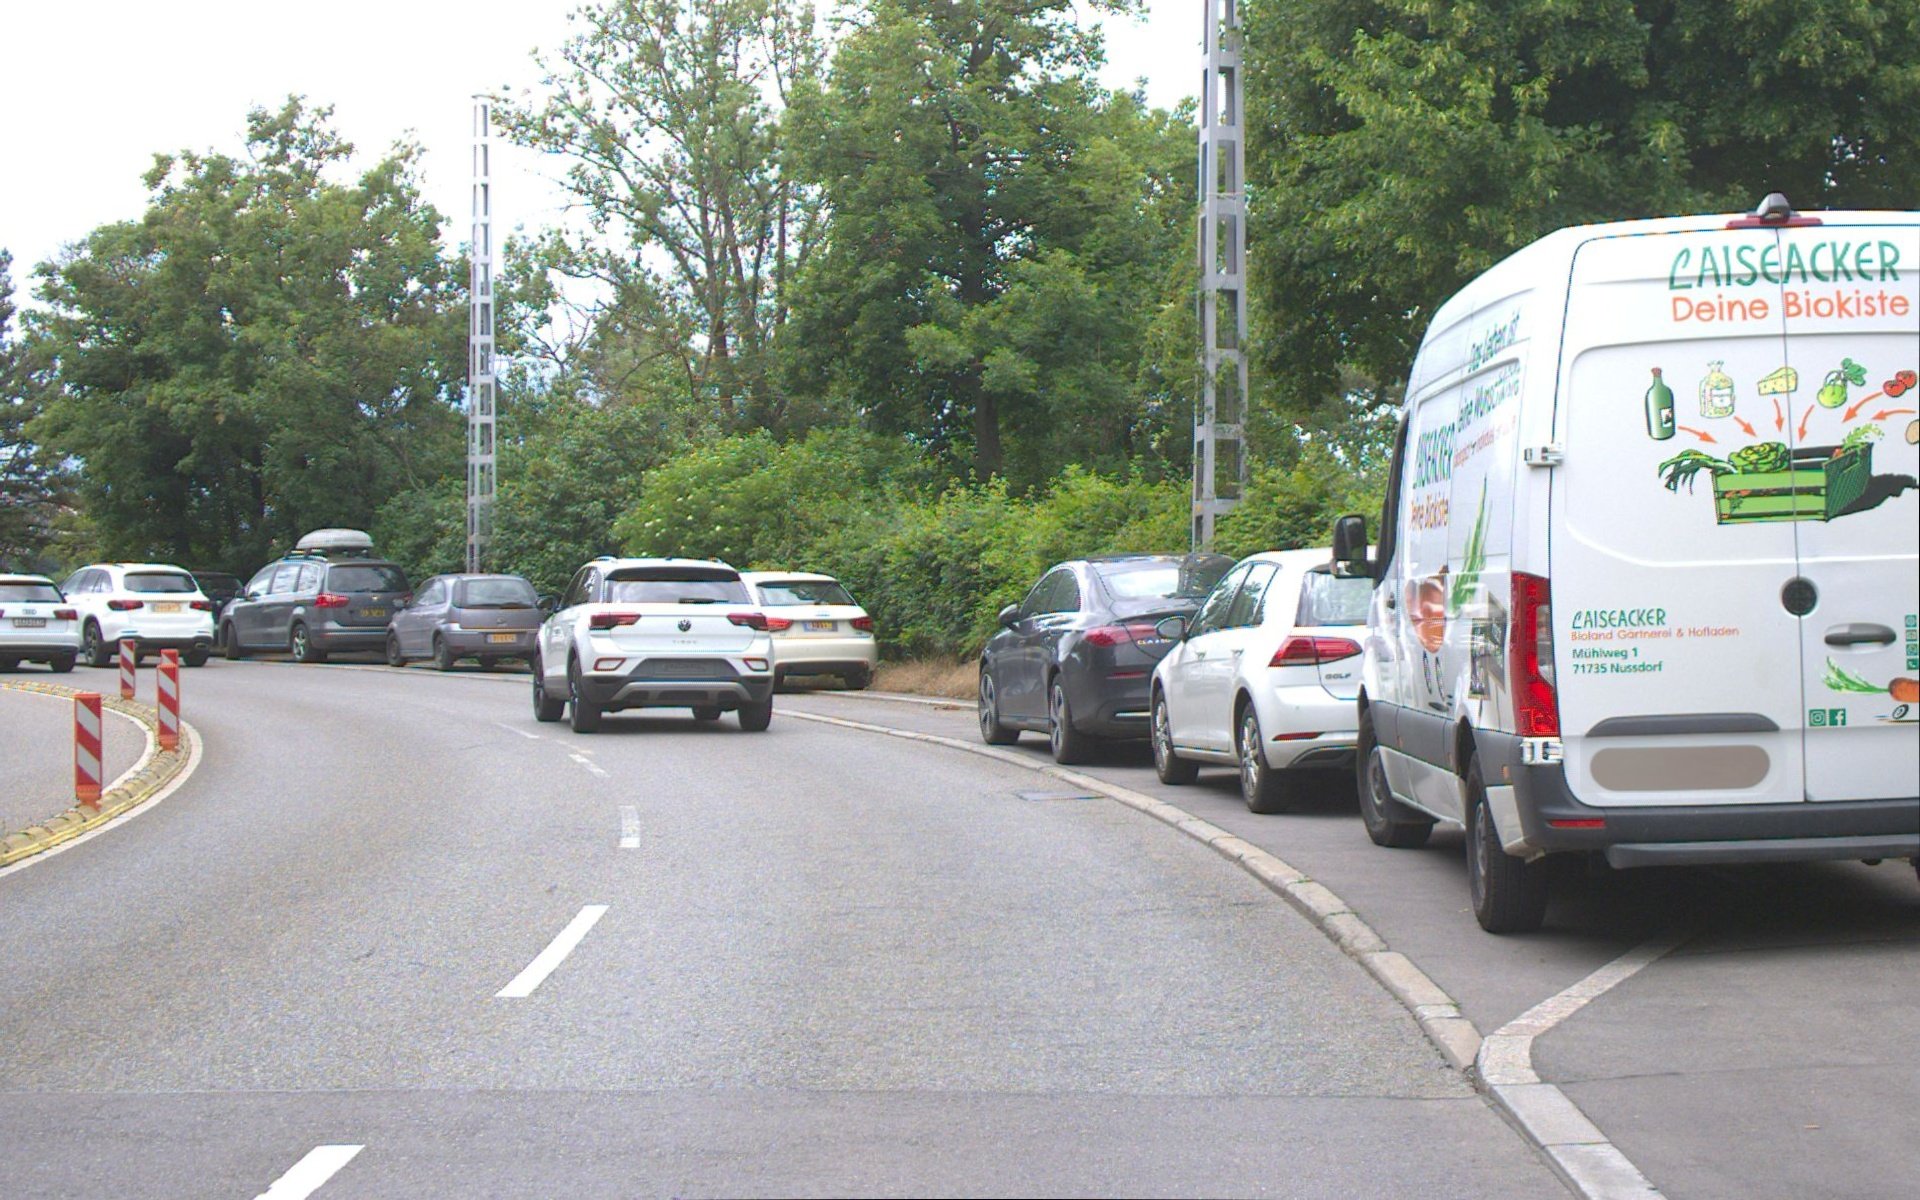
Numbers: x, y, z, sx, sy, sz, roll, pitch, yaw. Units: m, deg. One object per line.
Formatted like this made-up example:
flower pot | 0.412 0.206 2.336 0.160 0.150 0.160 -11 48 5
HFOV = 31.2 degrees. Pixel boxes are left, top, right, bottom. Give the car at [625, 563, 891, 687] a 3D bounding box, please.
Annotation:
car | -2.516 0.273 41.919 1.777 1.413 4.001 -1 1 -27

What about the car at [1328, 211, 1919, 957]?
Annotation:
car | 2.928 -0.091 14.689 2.084 2.515 5.844 -2 1 1

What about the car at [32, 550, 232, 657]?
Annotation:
car | -13.370 0.042 55.375 1.993 1.581 4.000 3 -1 -30

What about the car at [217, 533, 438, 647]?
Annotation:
car | -10.456 -0.174 56.606 1.798 1.766 4.607 2 0 -35

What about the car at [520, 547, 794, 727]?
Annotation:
car | -2.854 0.308 31.635 1.866 1.531 3.805 1 0 -15

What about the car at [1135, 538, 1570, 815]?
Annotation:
car | 2.193 0.391 20.218 1.700 1.459 3.836 -1 0 -7

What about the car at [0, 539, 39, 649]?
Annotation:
car | -16.759 -0.145 56.250 1.993 1.733 4.000 3 -1 -34

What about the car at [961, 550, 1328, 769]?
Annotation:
car | 1.249 0.370 25.399 1.700 1.459 4.665 0 1 -10

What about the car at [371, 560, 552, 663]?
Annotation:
car | -7.535 0.170 51.675 1.640 1.459 4.001 2 0 -24

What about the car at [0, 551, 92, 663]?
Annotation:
car | -14.582 0.075 51.697 1.906 1.569 4.000 3 -1 -29
